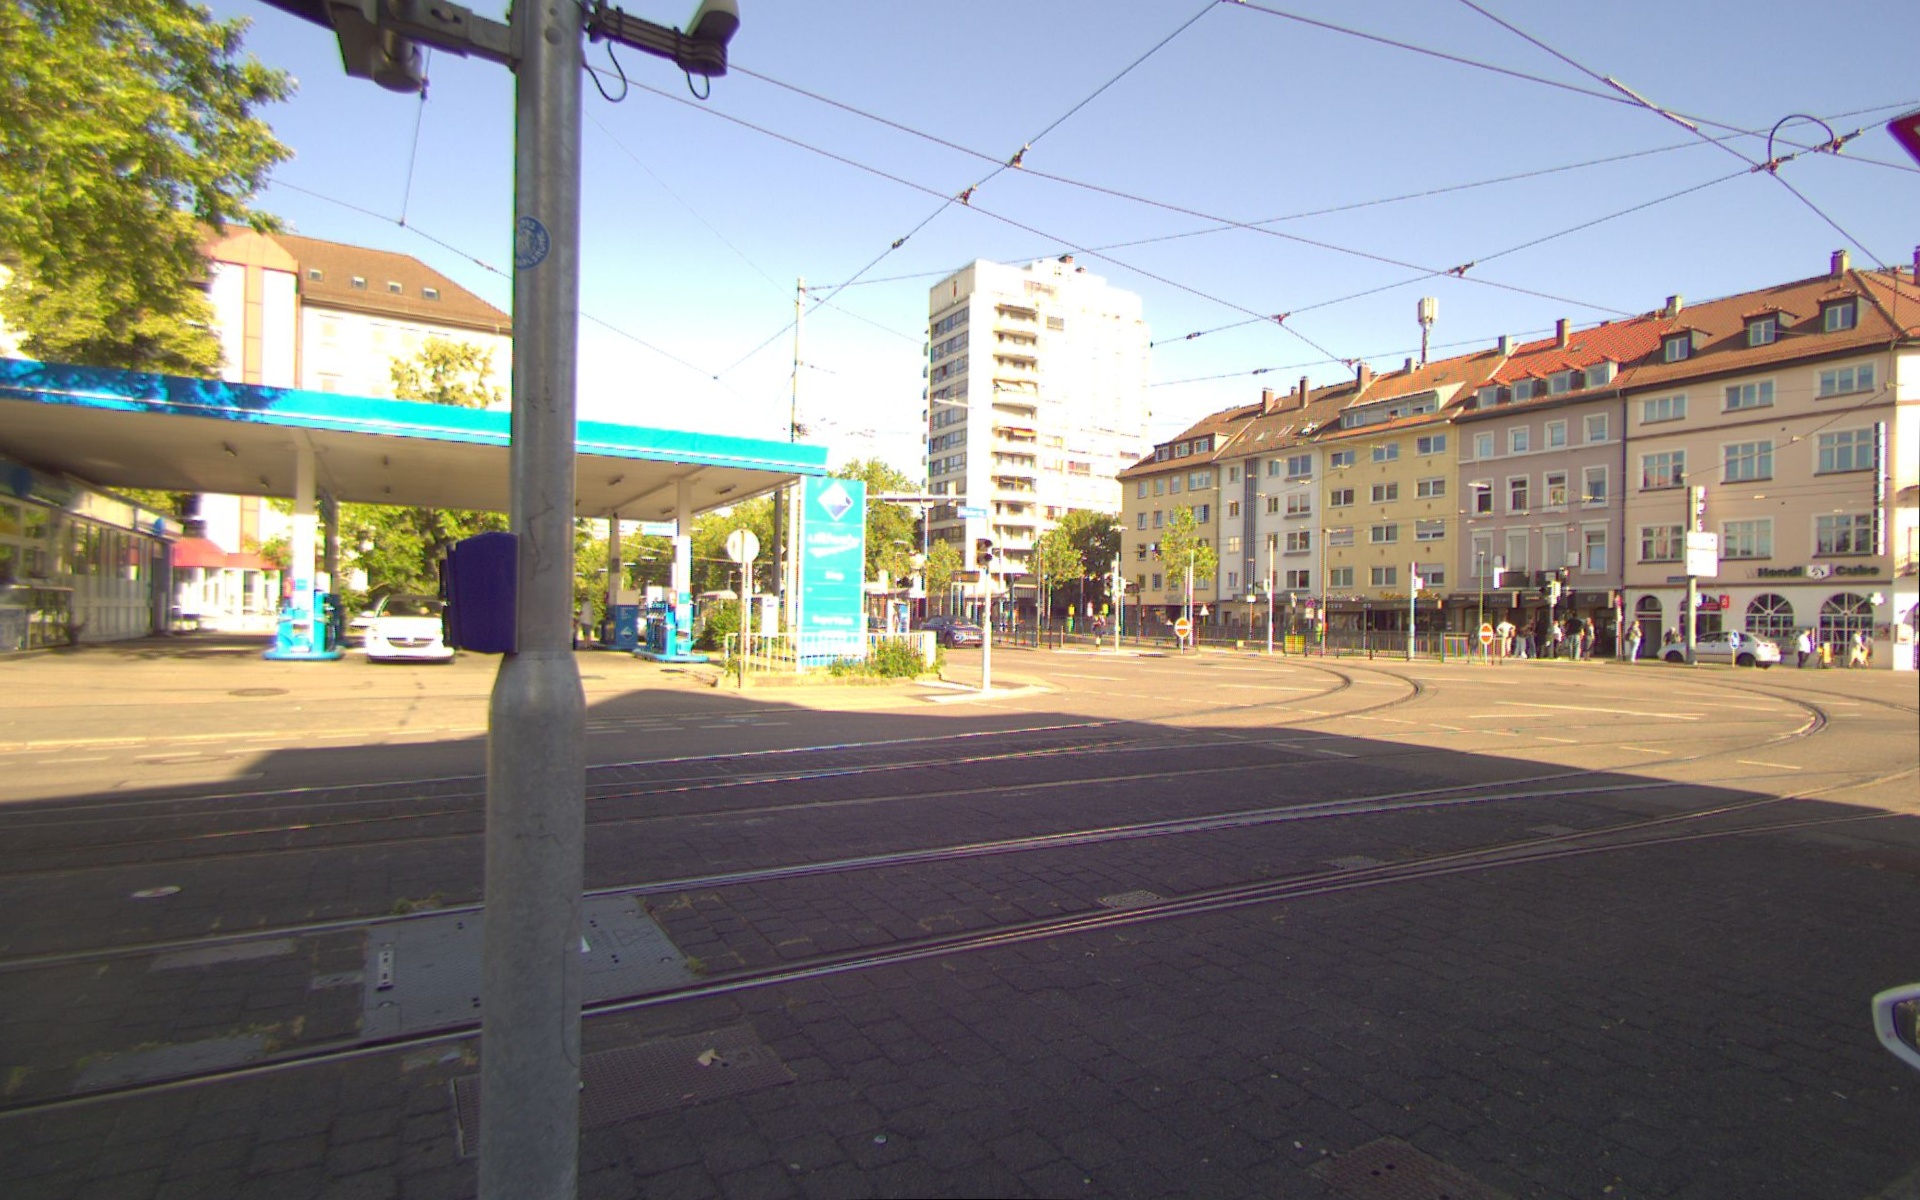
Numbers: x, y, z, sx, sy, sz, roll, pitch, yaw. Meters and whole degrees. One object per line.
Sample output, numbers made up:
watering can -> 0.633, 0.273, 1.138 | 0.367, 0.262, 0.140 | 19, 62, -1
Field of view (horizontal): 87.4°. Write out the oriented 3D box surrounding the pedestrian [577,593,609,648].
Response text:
pedestrian -> -11.734, 0.676, 32.096 | 0.838, 1.724, 0.644 | 2, -3, -31

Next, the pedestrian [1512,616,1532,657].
pedestrian -> 23.371, 1.508, 41.758 | 0.492, 1.670, 0.520 | 2, 0, -30

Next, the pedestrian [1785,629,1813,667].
pedestrian -> 37.515, 2.143, 44.917 | 0.778, 1.664, 0.569 | 2, 0, -6

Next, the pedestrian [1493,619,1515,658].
pedestrian -> 23.903, 1.687, 44.170 | 0.609, 1.670, 0.581 | 2, 0, -30

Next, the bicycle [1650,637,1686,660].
bicycle -> 33.943, 2.312, 48.159 | 1.731, 1.044, 0.619 | 2, 0, -25

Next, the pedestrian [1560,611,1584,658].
pedestrian -> 24.732, 1.387, 40.583 | 0.669, 1.847, 0.524 | 2, 0, -30

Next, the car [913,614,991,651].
car -> -0.429, 1.487, 47.191 | 1.810, 1.596, 4.164 | 1, 0, -30

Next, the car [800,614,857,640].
car -> -7.900, 1.594, 60.171 | 1.878, 1.473, 3.971 | 1, -1, -34

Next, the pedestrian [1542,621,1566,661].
pedestrian -> 25.089, 1.722, 42.424 | 0.719, 1.670, 0.570 | 2, 0, -30

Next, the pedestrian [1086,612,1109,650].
pedestrian -> 5.883, 1.327, 43.030 | 0.758, 1.631, 0.607 | 2, 0, -36

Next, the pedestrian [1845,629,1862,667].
pedestrian -> 40.007, 2.149, 44.991 | 0.585, 1.698, 0.491 | 2, 0, -43

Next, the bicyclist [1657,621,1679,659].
bicyclist -> 33.958, 1.917, 48.158 | 0.606, 1.814, 0.619 | 2, 0, -25

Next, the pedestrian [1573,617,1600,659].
pedestrian -> 25.615, 1.542, 41.063 | 0.831, 1.670, 0.579 | 2, 0, -30

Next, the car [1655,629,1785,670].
car -> 30.082, 1.938, 39.854 | 1.680, 1.421, 3.769 | 2, 0, -31

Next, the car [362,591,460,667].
car -> -12.211, 0.596, 22.361 | 1.723, 1.455, 3.905 | 2, 1, -29

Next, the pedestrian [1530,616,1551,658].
pedestrian -> 23.782, 1.518, 41.143 | 0.492, 1.670, 0.520 | 2, 0, -30

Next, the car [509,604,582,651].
car -> -13.514, 0.863, 32.652 | 1.659, 1.372, 3.559 | 2, 0, -31

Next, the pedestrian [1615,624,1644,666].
pedestrian -> 26.379, 1.762, 39.578 | 0.805, 1.615, 0.665 | 2, 0, -30

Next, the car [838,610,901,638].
car -> -4.992, 1.306, 54.950 | 1.811, 1.422, 3.965 | 1, -1, -32
